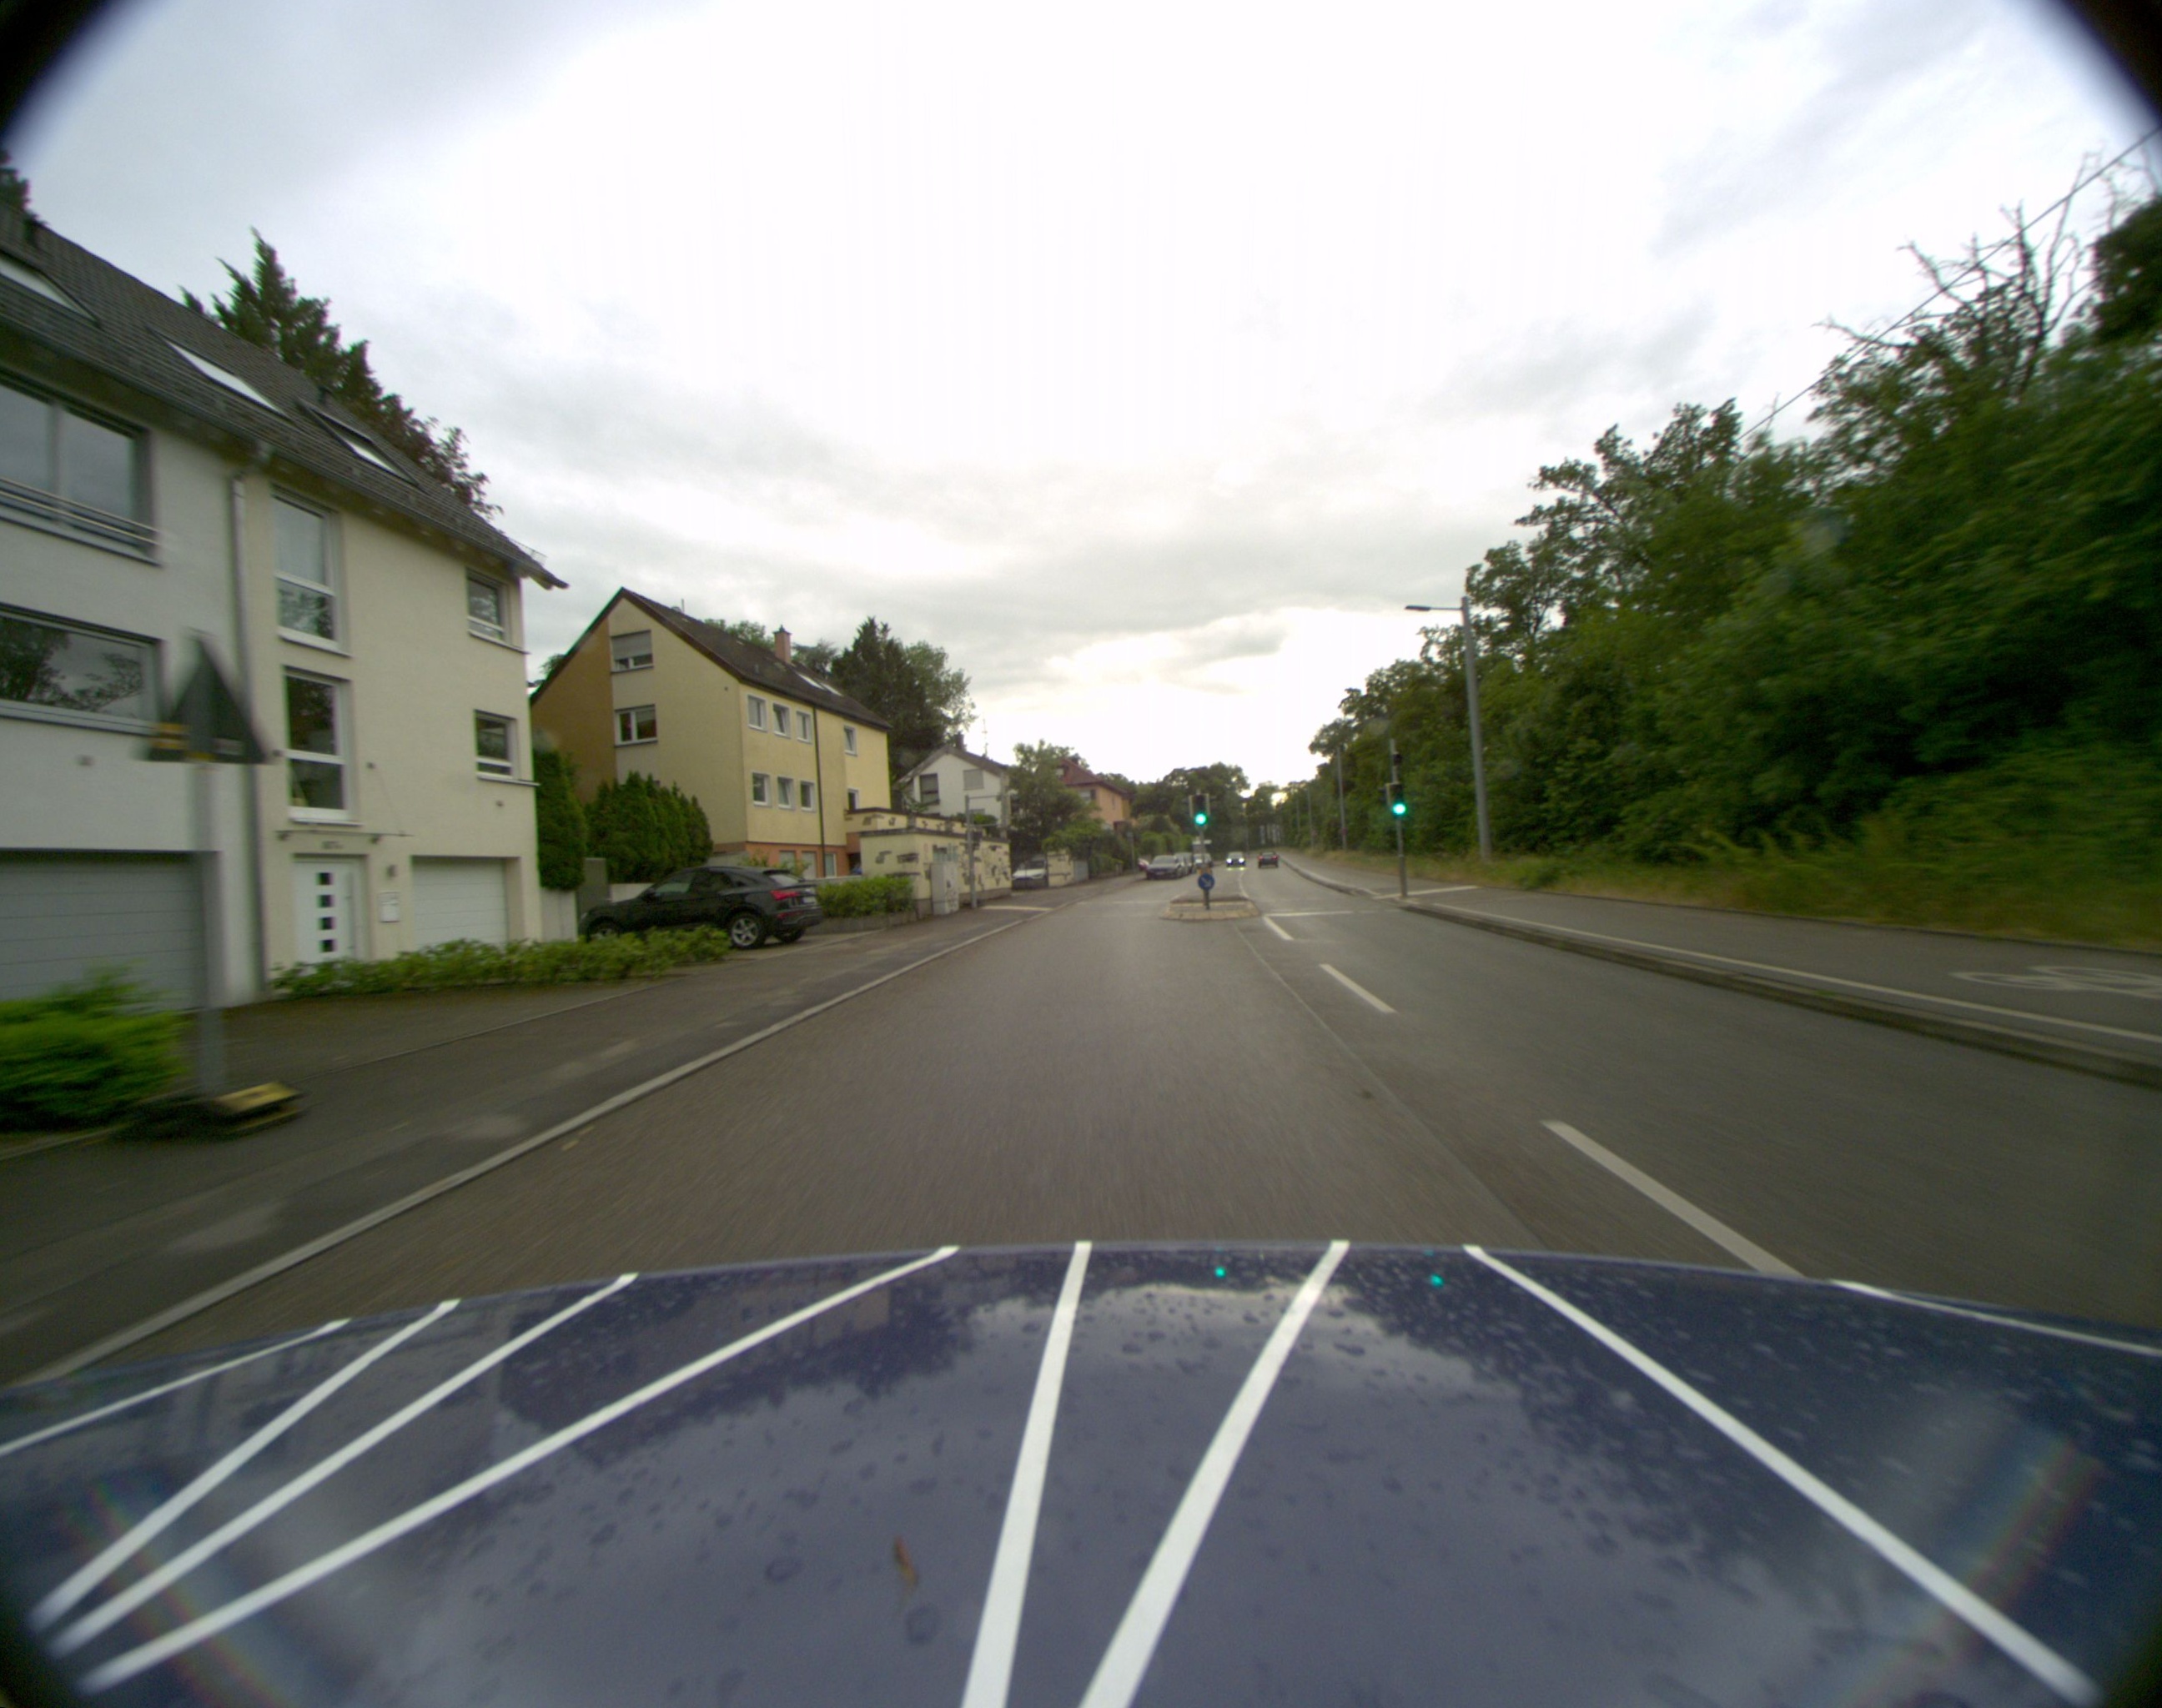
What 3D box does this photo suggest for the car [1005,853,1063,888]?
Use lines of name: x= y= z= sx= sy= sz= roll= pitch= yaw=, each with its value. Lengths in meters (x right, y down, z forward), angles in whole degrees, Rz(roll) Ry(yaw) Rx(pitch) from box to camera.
car: x=-2.540 y=0.878 z=42.382 sx=1.935 sy=1.587 sz=4.345 roll=-4 pitch=1 yaw=14

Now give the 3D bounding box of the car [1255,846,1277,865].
car: x=16.347 y=0.109 z=67.015 sx=1.746 sy=1.451 sz=4.418 roll=-3 pitch=1 yaw=15

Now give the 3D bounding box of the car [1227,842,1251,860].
car: x=15.679 y=-0.320 z=75.189 sx=1.996 sy=1.714 sz=4.004 roll=-2 pitch=0 yaw=15

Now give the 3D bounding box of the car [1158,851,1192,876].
car: x=6.491 y=0.601 z=52.200 sx=1.796 sy=1.478 sz=4.499 roll=-3 pitch=1 yaw=13

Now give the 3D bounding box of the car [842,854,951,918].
car: x=-5.710 y=0.932 z=24.114 sx=1.936 sy=1.586 sz=4.343 roll=-6 pitch=0 yaw=4

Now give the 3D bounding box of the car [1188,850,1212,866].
car: x=11.550 y=0.364 z=73.716 sx=1.815 sy=1.390 sz=4.106 roll=-3 pitch=1 yaw=15

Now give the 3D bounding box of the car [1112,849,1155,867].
car: x=4.731 y=0.354 z=68.273 sx=3.663 sy=1.527 sz=1.830 roll=0 pitch=1 yaw=11

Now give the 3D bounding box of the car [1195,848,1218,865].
car: x=12.941 y=0.268 z=78.304 sx=1.832 sy=1.538 sz=4.634 roll=-3 pitch=1 yaw=16

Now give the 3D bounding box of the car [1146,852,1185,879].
car: x=5.272 y=0.662 z=46.881 sx=1.754 sy=1.435 sz=4.604 roll=-3 pitch=1 yaw=14

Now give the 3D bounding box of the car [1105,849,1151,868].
car: x=4.061 y=0.389 z=65.348 sx=3.663 sy=1.557 sz=1.884 roll=-1 pitch=1 yaw=13

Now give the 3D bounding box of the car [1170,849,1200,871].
car: x=7.962 y=0.410 z=58.124 sx=1.733 sy=1.558 sz=4.526 roll=-2 pitch=0 yaw=14

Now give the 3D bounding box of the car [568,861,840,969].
car: x=-7.392 y=1.165 z=15.200 sx=4.337 sy=1.587 sz=1.993 roll=-6 pitch=1 yaw=5
